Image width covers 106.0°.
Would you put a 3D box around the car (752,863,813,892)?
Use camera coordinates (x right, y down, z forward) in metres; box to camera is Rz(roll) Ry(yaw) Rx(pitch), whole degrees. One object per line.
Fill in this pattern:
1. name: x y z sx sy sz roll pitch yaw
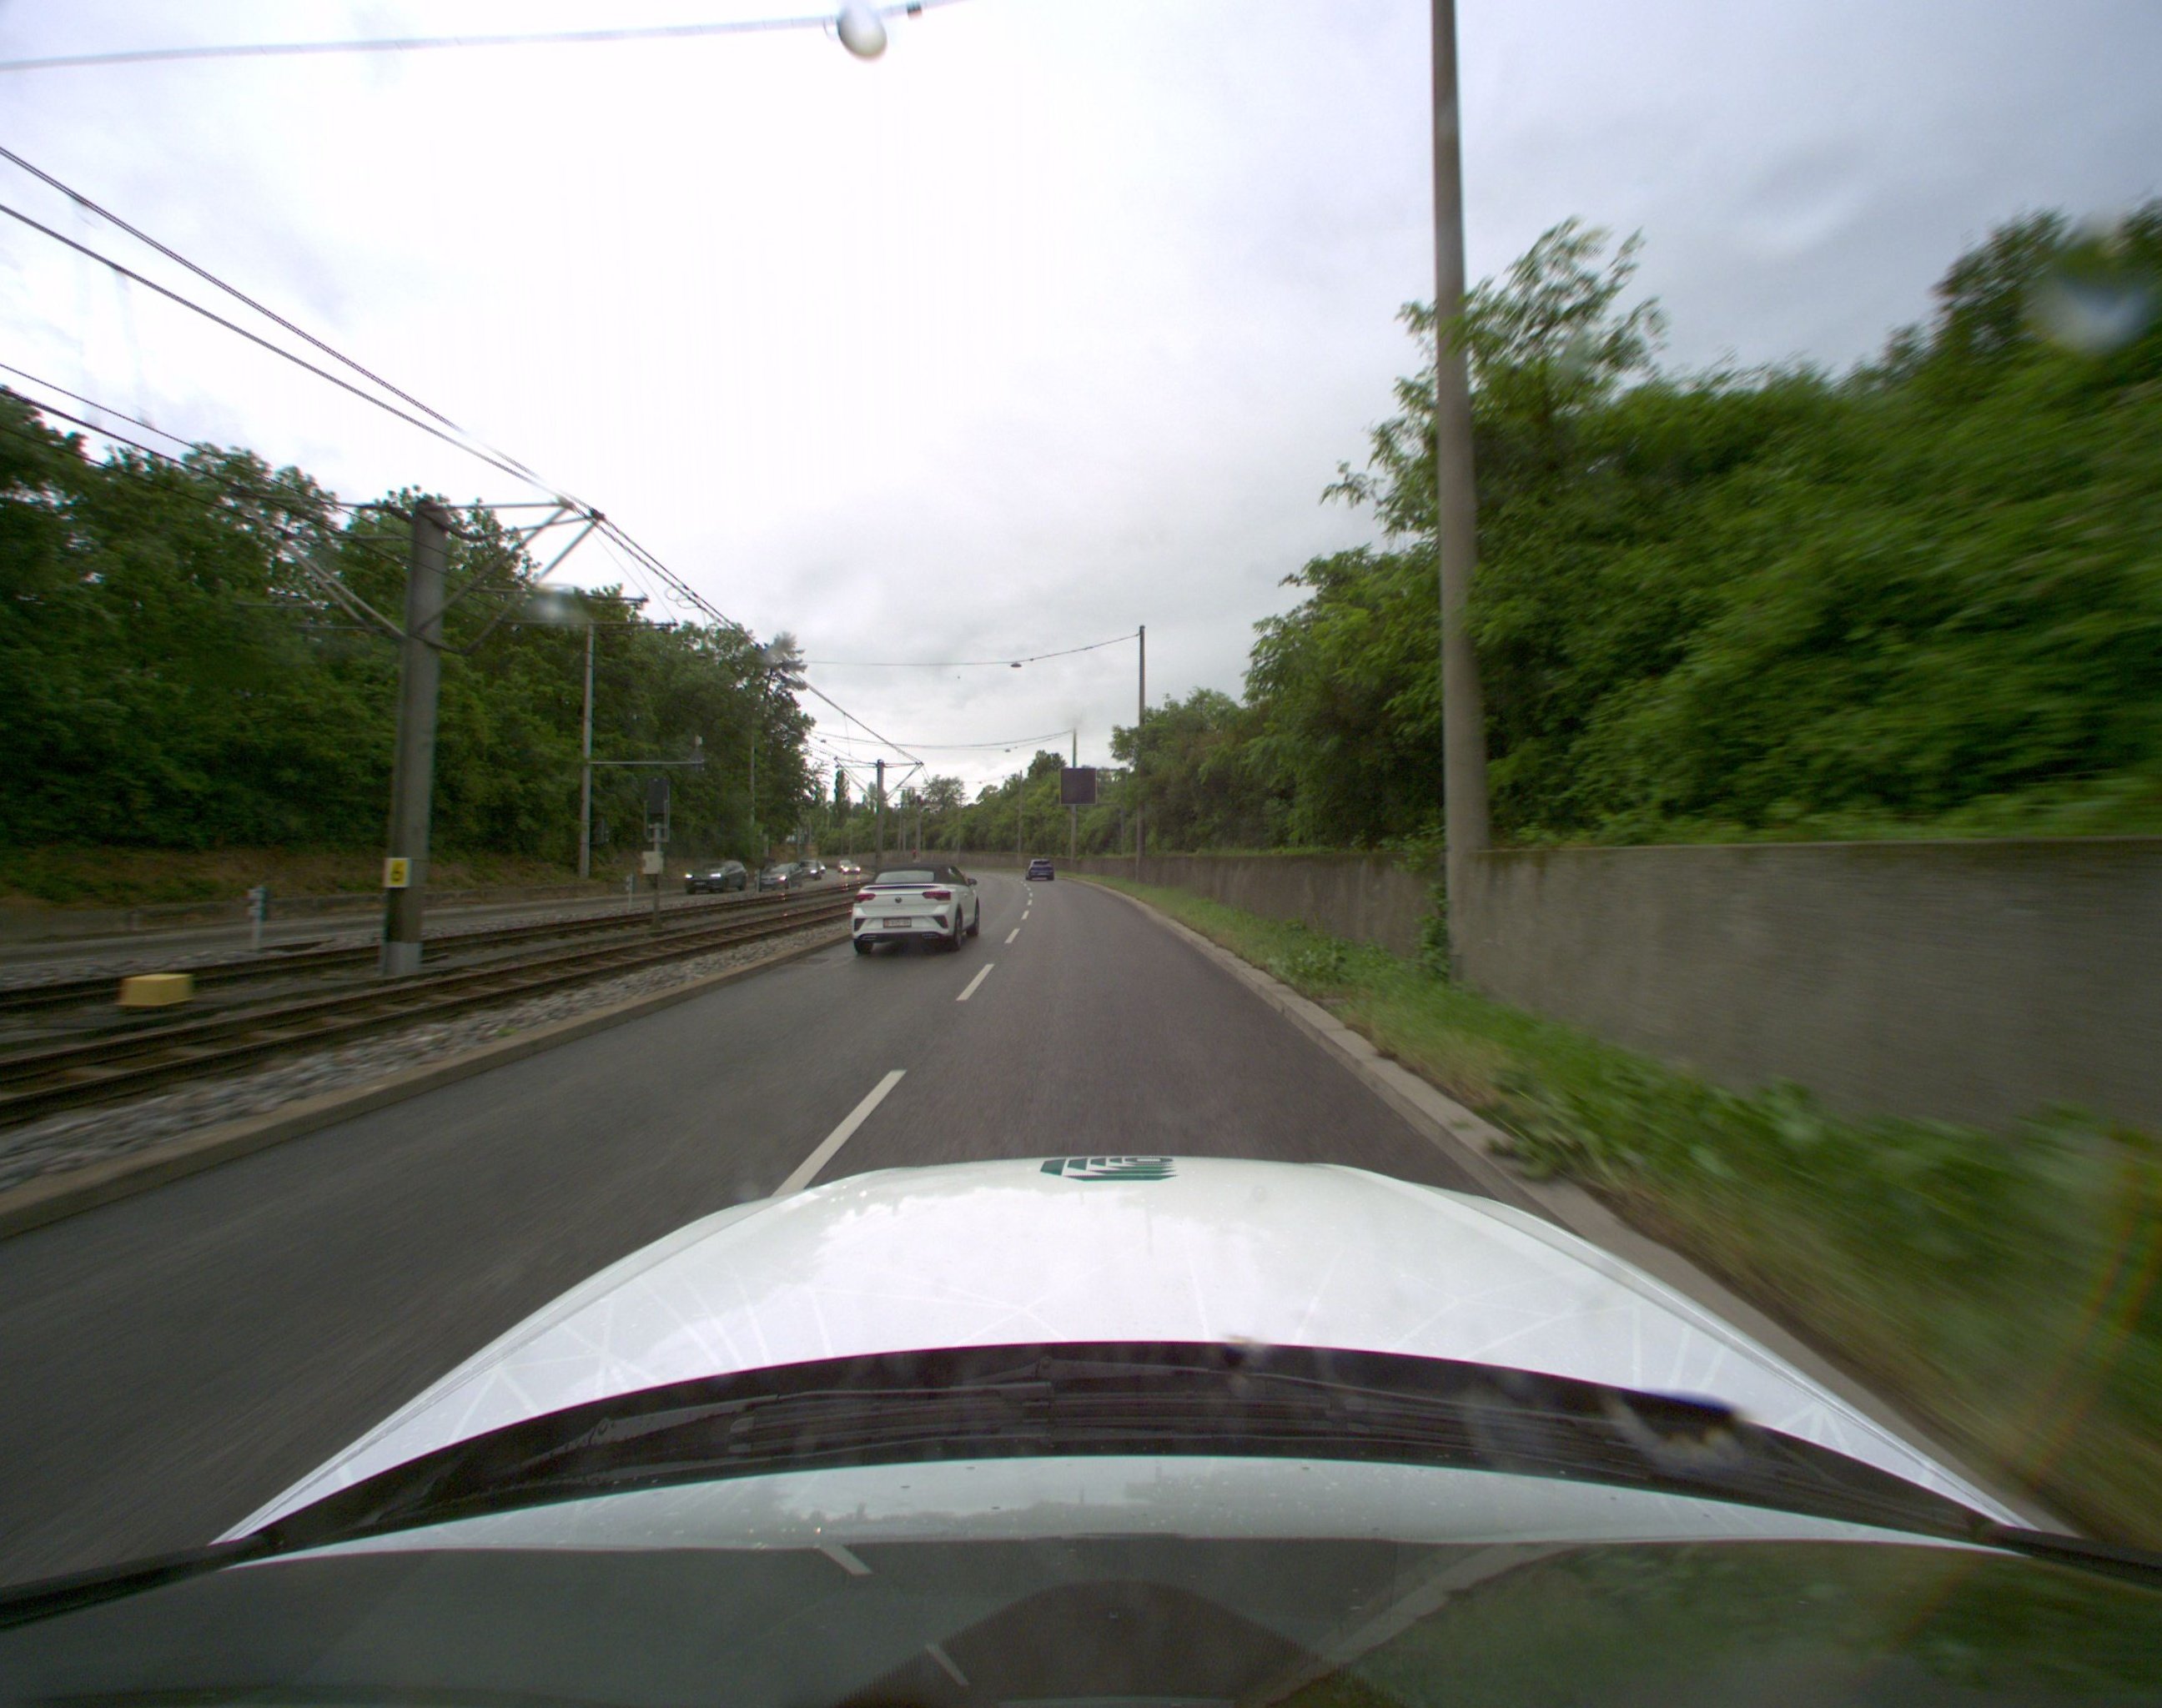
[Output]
1. car: -15.508 1.192 42.502 1.700 1.415 4.031 0 -1 0

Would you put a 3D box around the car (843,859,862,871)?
1. car: -29.135 1.414 103.772 1.547 1.491 3.586 -3 0 -30

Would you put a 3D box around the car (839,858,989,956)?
1. car: -2.947 0.862 15.376 1.865 1.524 4.539 -1 0 0

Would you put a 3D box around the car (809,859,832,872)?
1. car: -31.211 1.367 97.605 1.827 1.462 4.618 -2 0 -27

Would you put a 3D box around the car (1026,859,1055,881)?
1. car: -2.865 1.101 56.911 1.761 1.501 3.991 0 -1 -6

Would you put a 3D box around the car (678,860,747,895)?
1. car: -18.766 1.146 41.712 1.781 1.669 4.730 -1 0 -6

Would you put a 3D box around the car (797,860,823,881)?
1. car: -22.030 1.346 66.325 1.710 1.607 4.388 -2 0 -15

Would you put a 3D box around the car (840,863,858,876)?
1. car: -25.020 1.661 87.794 1.549 1.258 3.931 -3 0 -21
